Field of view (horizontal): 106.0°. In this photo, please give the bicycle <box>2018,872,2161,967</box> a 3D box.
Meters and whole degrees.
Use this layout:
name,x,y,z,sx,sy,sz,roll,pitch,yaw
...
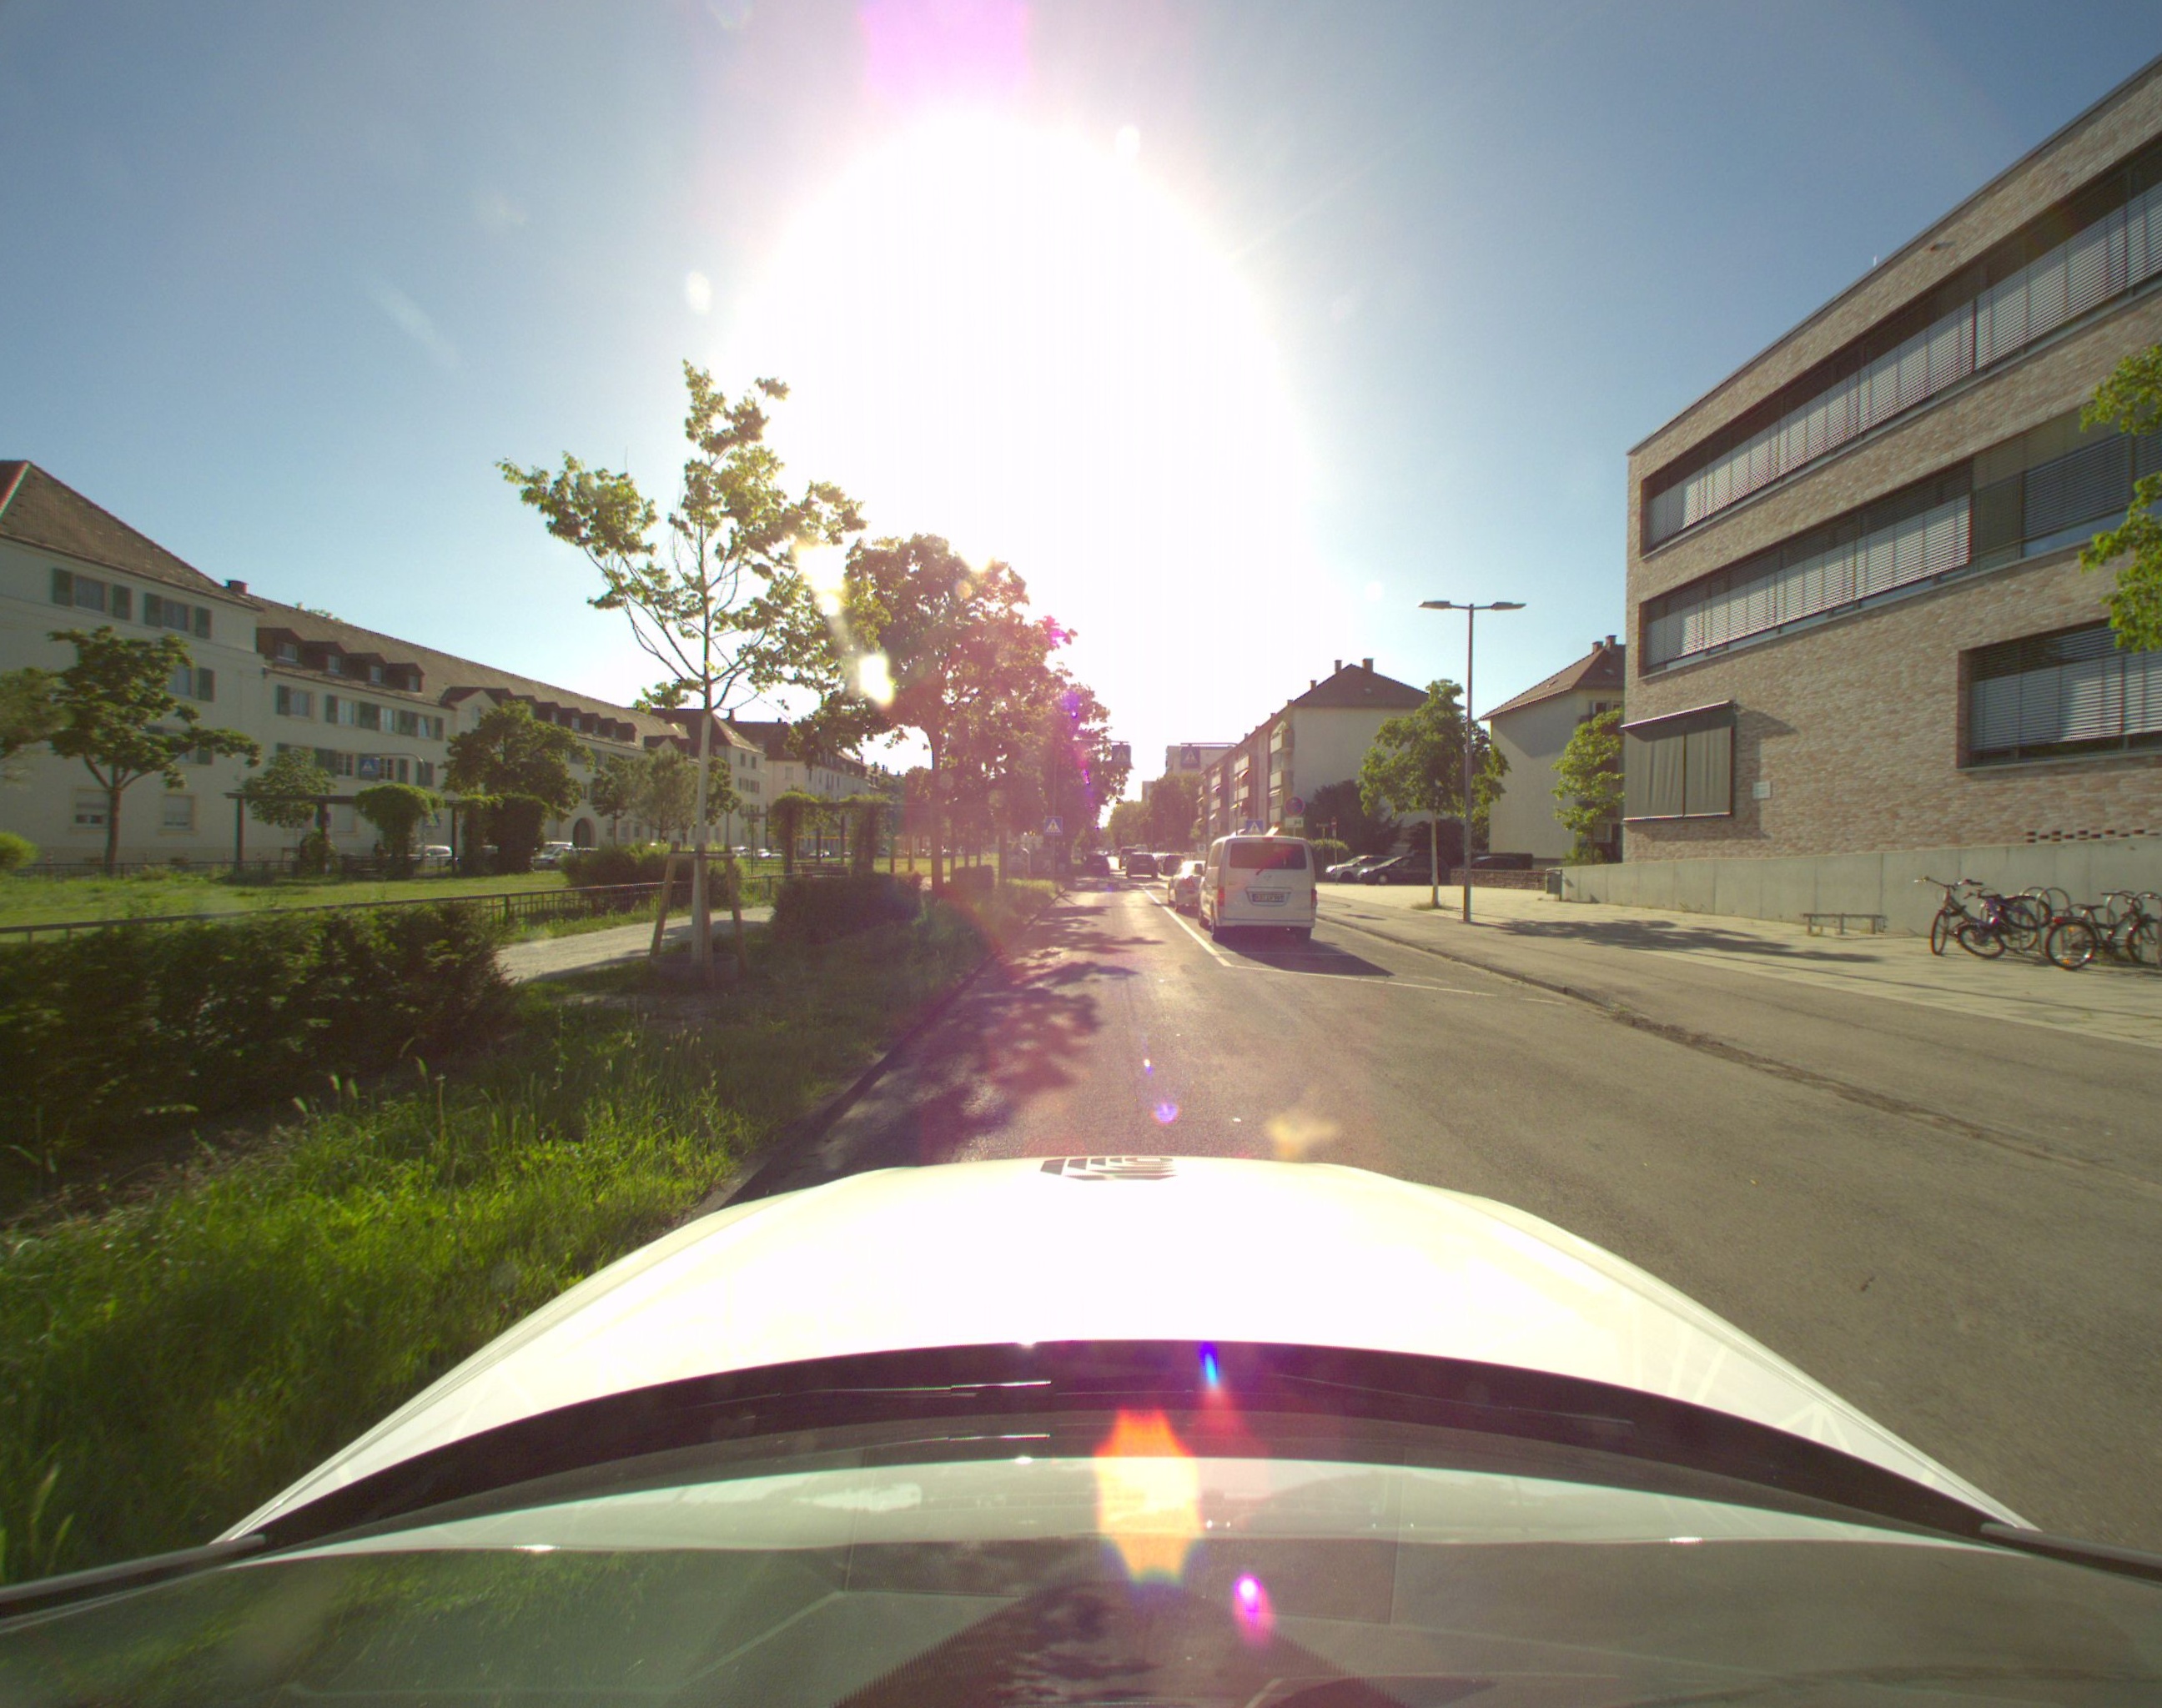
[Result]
name,x,y,z,sx,sy,sz,roll,pitch,yaw
bicycle,12.953,0.806,10.232,1.789,1.107,0.500,-2,0,-1

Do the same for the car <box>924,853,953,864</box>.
name,x,y,z,sx,sy,sz,roll,pitch,yaw
car,-20.977,0.661,119.963,3.977,1.510,1.799,1,0,-2

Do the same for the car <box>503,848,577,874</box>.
name,x,y,z,sx,sy,sz,roll,pitch,yaw
car,-33.429,0.416,50.496,1.787,1.510,4.002,1,0,2

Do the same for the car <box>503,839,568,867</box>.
name,x,y,z,sx,sy,sz,roll,pitch,yaw
car,-38.828,-0.097,58.099,1.787,1.909,4.002,1,0,2

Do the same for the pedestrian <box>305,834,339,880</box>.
name,x,y,z,sx,sy,sz,roll,pitch,yaw
pedestrian,-28.744,0.116,30.845,0.645,1.698,0.650,0,0,2

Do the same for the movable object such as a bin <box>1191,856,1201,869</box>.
name,x,y,z,sx,sy,sz,roll,pitch,yaw
movable object such as a bin,14.478,1.047,102.726,1.087,1.510,2.003,1,0,2

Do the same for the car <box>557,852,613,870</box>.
name,x,y,z,sx,sy,sz,roll,pitch,yaw
car,-38.689,0.523,63.596,1.787,1.384,4.002,1,0,2

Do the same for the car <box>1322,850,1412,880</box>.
name,x,y,z,sx,sy,sz,roll,pitch,yaw
car,16.124,0.646,46.092,4.467,1.622,1.799,1,-2,-1

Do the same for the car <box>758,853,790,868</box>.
name,x,y,z,sx,sy,sz,roll,pitch,yaw
car,-33.121,0.694,87.901,1.787,1.510,4.002,1,0,2

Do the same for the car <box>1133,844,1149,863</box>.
name,x,y,z,sx,sy,sz,roll,pitch,yaw
car,8.369,-0.058,113.804,1.986,2.430,4.502,3,0,2

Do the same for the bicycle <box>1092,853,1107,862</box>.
name,x,y,z,sx,sy,sz,roll,pitch,yaw
bicycle,3.037,0.589,133.001,2.316,1.540,0.630,0,0,-3

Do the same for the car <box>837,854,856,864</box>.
name,x,y,z,sx,sy,sz,roll,pitch,yaw
car,-37.733,0.812,130.917,1.788,1.510,4.001,1,0,1

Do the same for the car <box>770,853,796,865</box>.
name,x,y,z,sx,sy,sz,roll,pitch,yaw
car,-38.605,0.655,105.521,1.787,1.510,4.002,1,0,2

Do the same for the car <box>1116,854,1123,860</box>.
name,x,y,z,sx,sy,sz,roll,pitch,yaw
car,9.491,0.816,200.891,1.787,1.510,4.002,0,0,2

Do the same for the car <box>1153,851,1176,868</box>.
name,x,y,z,sx,sy,sz,roll,pitch,yaw
car,7.483,0.473,73.211,1.787,1.510,4.002,1,0,2

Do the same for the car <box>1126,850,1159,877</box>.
name,x,y,z,sx,sy,sz,roll,pitch,yaw
car,3.535,0.510,47.498,1.787,1.510,4.002,1,0,2

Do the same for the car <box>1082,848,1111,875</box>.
name,x,y,z,sx,sy,sz,roll,pitch,yaw
car,1.068,0.456,53.260,1.787,1.624,4.002,1,0,2

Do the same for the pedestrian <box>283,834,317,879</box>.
name,x,y,z,sx,sy,sz,roll,pitch,yaw
pedestrian,-29.622,0.100,30.905,0.645,1.698,0.650,0,0,2

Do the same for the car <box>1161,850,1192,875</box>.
name,x,y,z,sx,sy,sz,roll,pitch,yaw
car,6.428,0.561,55.278,1.787,1.601,4.002,1,0,2

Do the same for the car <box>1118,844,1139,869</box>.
name,x,y,z,sx,sy,sz,roll,pitch,yaw
car,4.281,0.220,73.806,1.787,2.122,4.002,1,0,2

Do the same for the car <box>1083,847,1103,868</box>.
name,x,y,z,sx,sy,sz,roll,pitch,yaw
car,1.259,0.365,82.374,1.986,2.013,4.002,0,0,2

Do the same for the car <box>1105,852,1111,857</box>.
name,x,y,z,sx,sy,sz,roll,pitch,yaw
car,8.464,0.197,251.872,1.787,1.510,4.002,0,0,2

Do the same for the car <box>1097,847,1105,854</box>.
name,x,y,z,sx,sy,sz,roll,pitch,yaw
car,4.367,-0.852,178.327,1.787,1.510,4.002,0,0,2

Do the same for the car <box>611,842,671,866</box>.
name,x,y,z,sx,sy,sz,roll,pitch,yaw
car,-33.394,-0.021,61.958,1.787,1.710,4.705,1,0,2

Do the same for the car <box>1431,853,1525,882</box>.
name,x,y,z,sx,sy,sz,roll,pitch,yaw
car,22.403,0.764,46.024,4.467,1.540,1.799,1,-2,-1

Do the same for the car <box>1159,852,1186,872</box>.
name,x,y,z,sx,sy,sz,roll,pitch,yaw
car,7.205,0.607,64.203,1.787,1.510,4.002,1,0,2

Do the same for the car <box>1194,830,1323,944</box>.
name,x,y,z,sx,sy,sz,roll,pitch,yaw
car,3.240,0.534,15.690,1.786,1.855,4.417,1,0,4

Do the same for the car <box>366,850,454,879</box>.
name,x,y,z,sx,sy,sz,roll,pitch,yaw
car,-39.179,0.594,47.658,1.788,1.611,3.999,1,0,0

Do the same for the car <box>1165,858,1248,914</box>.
name,x,y,z,sx,sy,sz,roll,pitch,yaw
car,3.302,0.803,22.161,1.758,1.319,4.170,2,0,2

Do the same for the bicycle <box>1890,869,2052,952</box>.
name,x,y,z,sx,sy,sz,roll,pitch,yaw
bicycle,12.776,0.799,11.707,1.789,1.107,0.500,-2,0,-1

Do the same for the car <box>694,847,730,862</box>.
name,x,y,z,sx,sy,sz,roll,pitch,yaw
car,-38.403,0.076,84.798,1.787,1.510,4.002,1,0,2

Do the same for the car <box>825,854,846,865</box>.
name,x,y,z,sx,sy,sz,roll,pitch,yaw
car,-37.933,0.832,125.828,1.787,1.510,4.146,1,0,2

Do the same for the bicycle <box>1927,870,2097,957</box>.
name,x,y,z,sx,sy,sz,roll,pitch,yaw
bicycle,12.766,0.801,11.187,1.789,1.107,0.500,-2,0,-1
